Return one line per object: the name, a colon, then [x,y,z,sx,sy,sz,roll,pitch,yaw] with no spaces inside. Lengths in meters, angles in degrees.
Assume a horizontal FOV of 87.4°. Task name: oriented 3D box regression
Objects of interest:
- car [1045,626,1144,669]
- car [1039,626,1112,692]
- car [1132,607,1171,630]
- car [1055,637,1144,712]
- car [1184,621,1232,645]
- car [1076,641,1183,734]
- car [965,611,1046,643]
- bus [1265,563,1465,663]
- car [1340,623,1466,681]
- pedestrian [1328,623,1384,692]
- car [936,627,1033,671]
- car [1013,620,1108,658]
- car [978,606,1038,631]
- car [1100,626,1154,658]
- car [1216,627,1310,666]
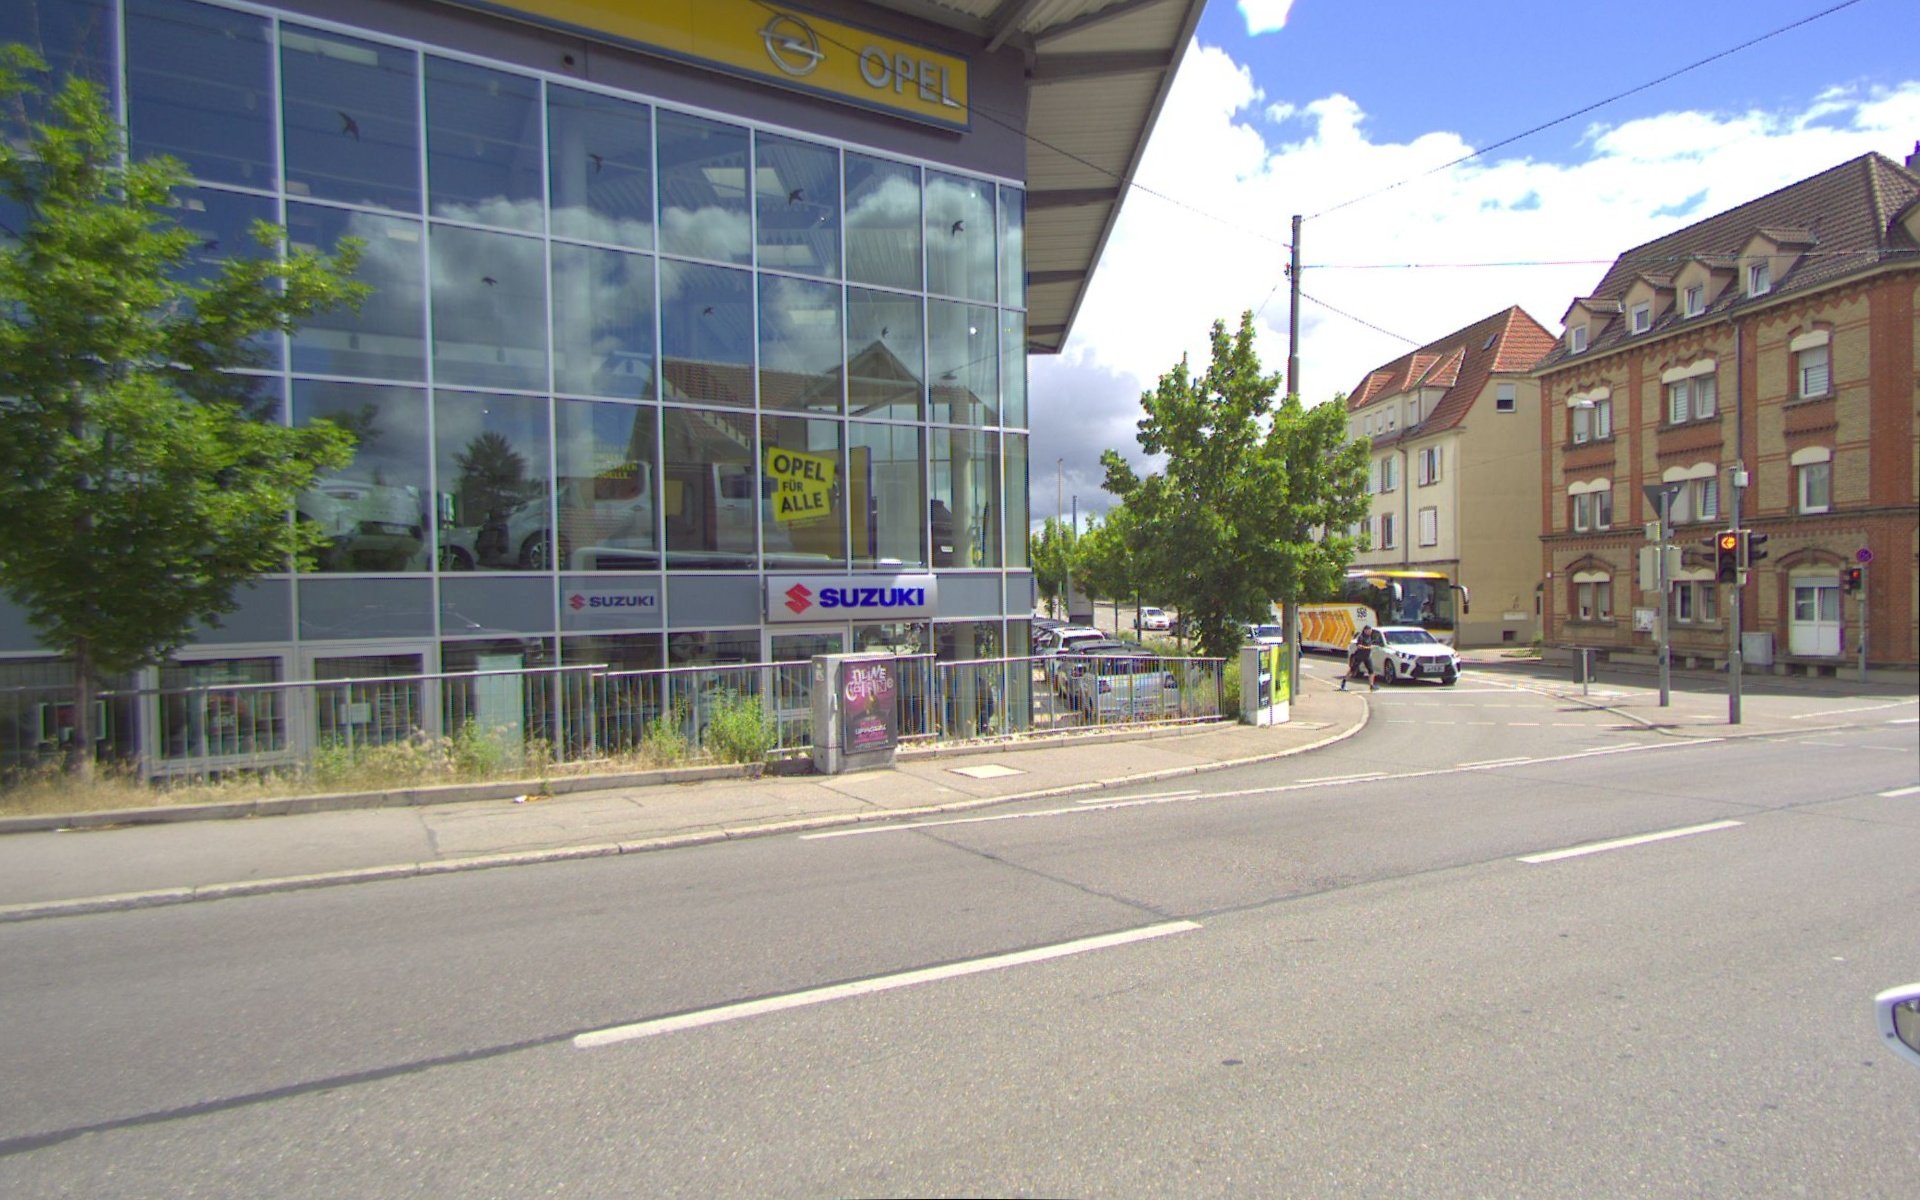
car: [4.955,1.748,37.316,3.430,1.497,1.800,1,-1,1]
car: [3.303,1.654,29.274,1.620,1.703,3.499,-1,0,-2]
car: [13.633,1.310,71.554,1.874,1.574,3.999,1,-1,-2]
car: [3.325,1.761,24.520,1.584,1.547,3.499,-1,0,-2]
car: [15.607,2.067,63.331,1.874,1.428,3.999,1,-1,-2]
car: [3.341,1.696,20.378,1.648,1.582,3.365,-1,0,1]
car: [2.361,1.410,52.791,3.930,1.574,1.804,1,-1,-12]
bus: [16.890,0.582,43.343,2.719,3.669,12.256,1,-1,-5]
car: [12.844,1.545,29.409,1.797,1.572,4.308,0,-3,0]
pedestrian: [10.334,1.485,26.226,0.751,1.757,1.133,1,-1,-34]
car: [0.874,1.771,36.876,3.432,1.467,1.799,-1,0,-3]
car: [4.497,1.742,45.129,3.925,1.574,1.806,1,-1,-7]
car: [3.180,1.252,67.457,3.922,1.574,1.807,1,-1,-1]
car: [8.051,1.996,48.686,1.766,1.467,3.498,1,-1,-5]
car: [12.006,1.829,40.014,1.855,1.437,3.605,1,-1,-20]
